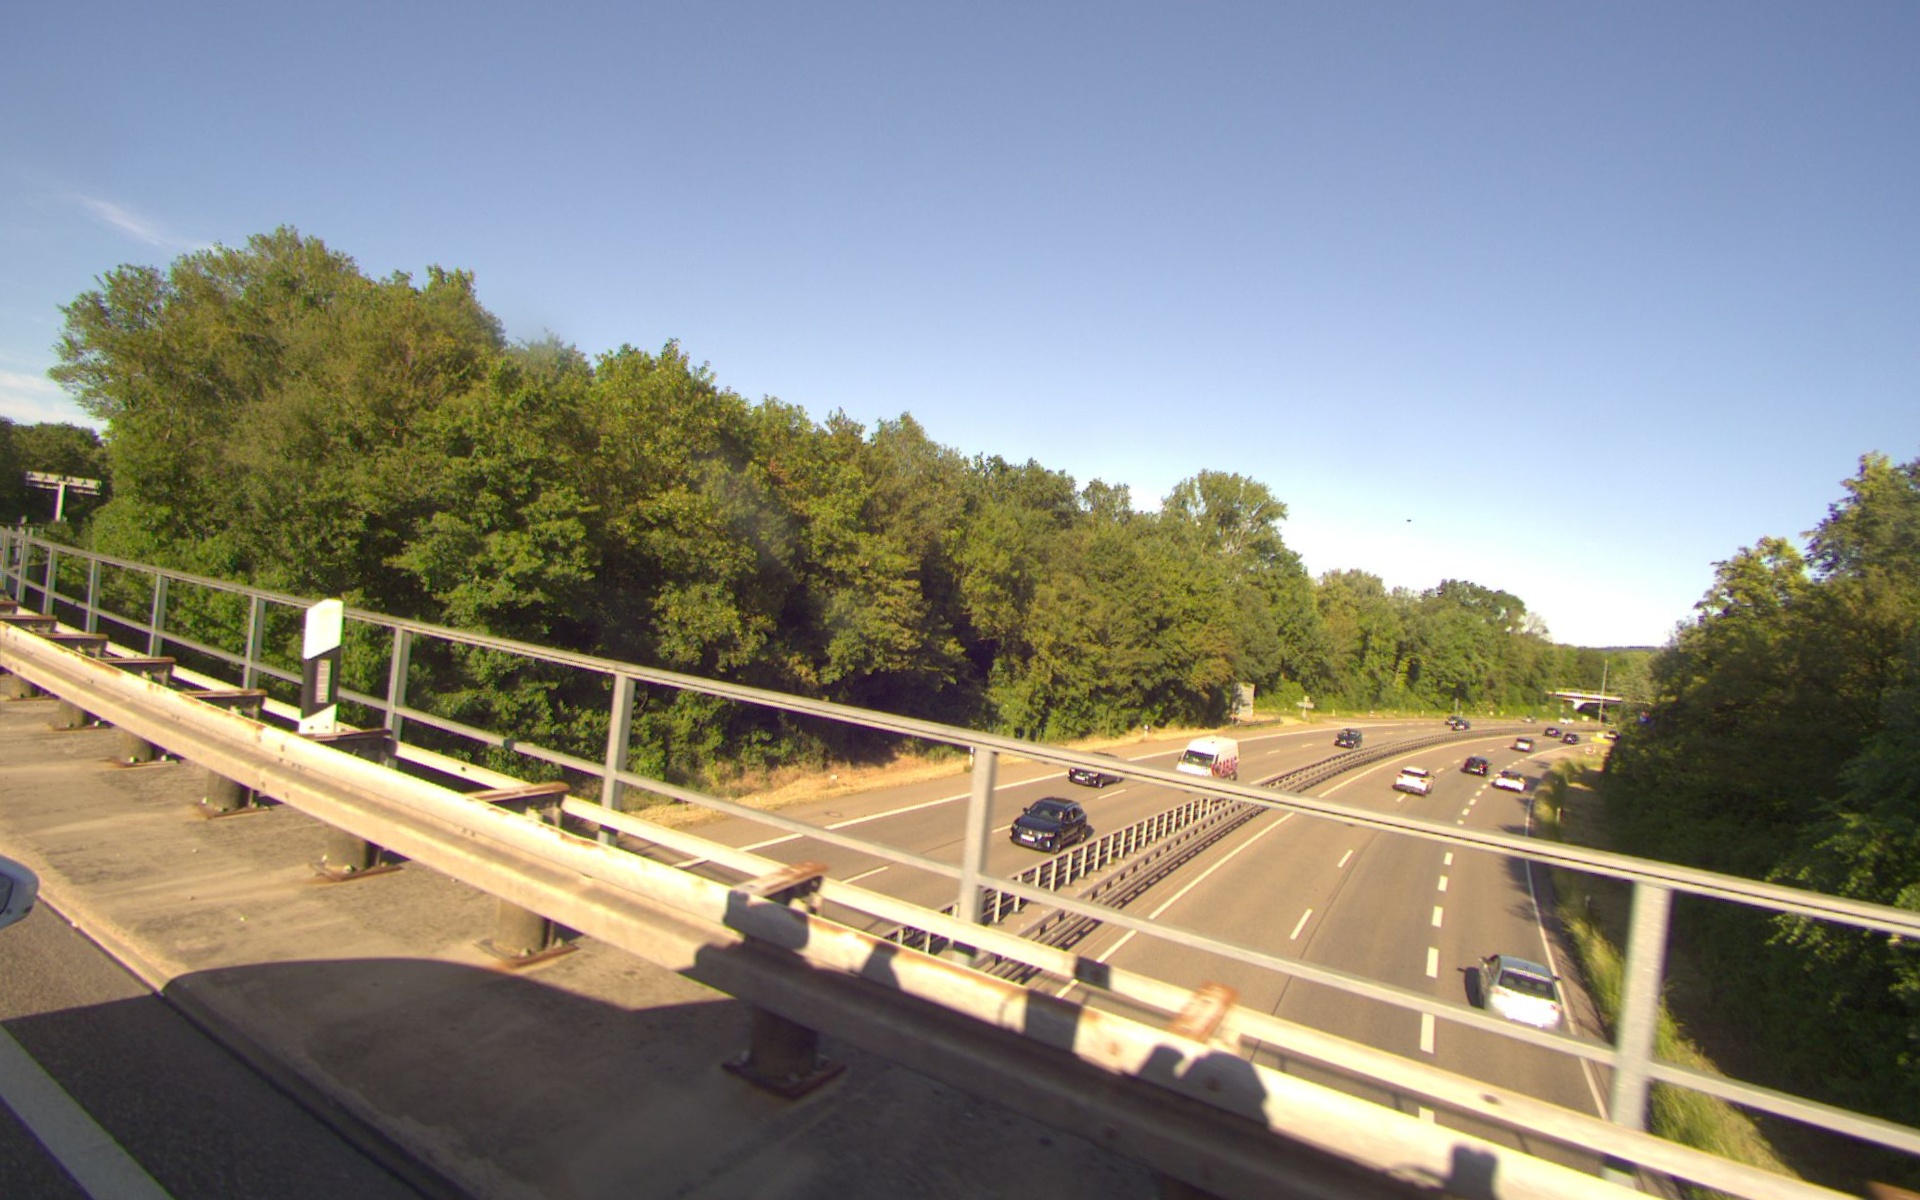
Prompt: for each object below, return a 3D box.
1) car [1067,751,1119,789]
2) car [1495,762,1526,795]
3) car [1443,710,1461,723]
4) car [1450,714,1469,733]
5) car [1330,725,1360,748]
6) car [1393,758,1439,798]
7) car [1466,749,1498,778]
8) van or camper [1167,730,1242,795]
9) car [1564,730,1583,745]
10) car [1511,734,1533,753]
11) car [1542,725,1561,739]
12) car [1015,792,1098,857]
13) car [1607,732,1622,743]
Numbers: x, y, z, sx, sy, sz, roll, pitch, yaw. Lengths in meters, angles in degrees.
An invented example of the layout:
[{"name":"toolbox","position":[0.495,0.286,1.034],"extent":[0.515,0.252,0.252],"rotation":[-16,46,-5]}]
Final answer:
[{"name":"car","position":[6.937,8.770,52.176],"extent":[1.390,1.357,3.578],"rotation":[8,1,27]},{"name":"car","position":[40.907,13.227,74.754],"extent":[1.729,1.860,3.872],"rotation":[8,0,28]},{"name":"car","position":[76.727,18.157,156.951],"extent":[1.695,1.672,3.690],"rotation":[9,2,38]},{"name":"car","position":[71.909,17.765,144.924],"extent":[1.966,2.039,3.991],"rotation":[9,2,30]},{"name":"car","position":[36.578,12.934,95.478],"extent":[1.869,1.816,3.897],"rotation":[9,-1,30]},{"name":"car","position":[29.217,11.372,64.416],"extent":[1.860,1.860,3.827],"rotation":[9,1,33]},{"name":"car","position":[42.933,13.443,82.664],"extent":[1.731,1.860,3.991],"rotation":[8,0,34]},{"name":"van or camper","position":[14.063,9.173,57.486],"extent":[2.182,2.679,6.816],"rotation":[10,2,28]},{"name":"car","position":[88.267,19.773,144.720],"extent":[1.734,1.860,3.985],"rotation":[7,-1,39]},{"name":"car","position":[65.748,16.776,117.736],"extent":[1.731,1.860,3.991],"rotation":[8,0,34]},{"name":"car","position":[91.473,20.409,155.561],"extent":[1.734,1.861,3.984],"rotation":[7,0,39]},{"name":"car","position":[3.618,8.232,37.144],"extent":[1.485,1.506,3.993],"rotation":[8,1,28]},{"name":"car","position":[113.528,23.873,174.468],"extent":[1.734,1.531,3.845],"rotation":[7,0,39]}]
